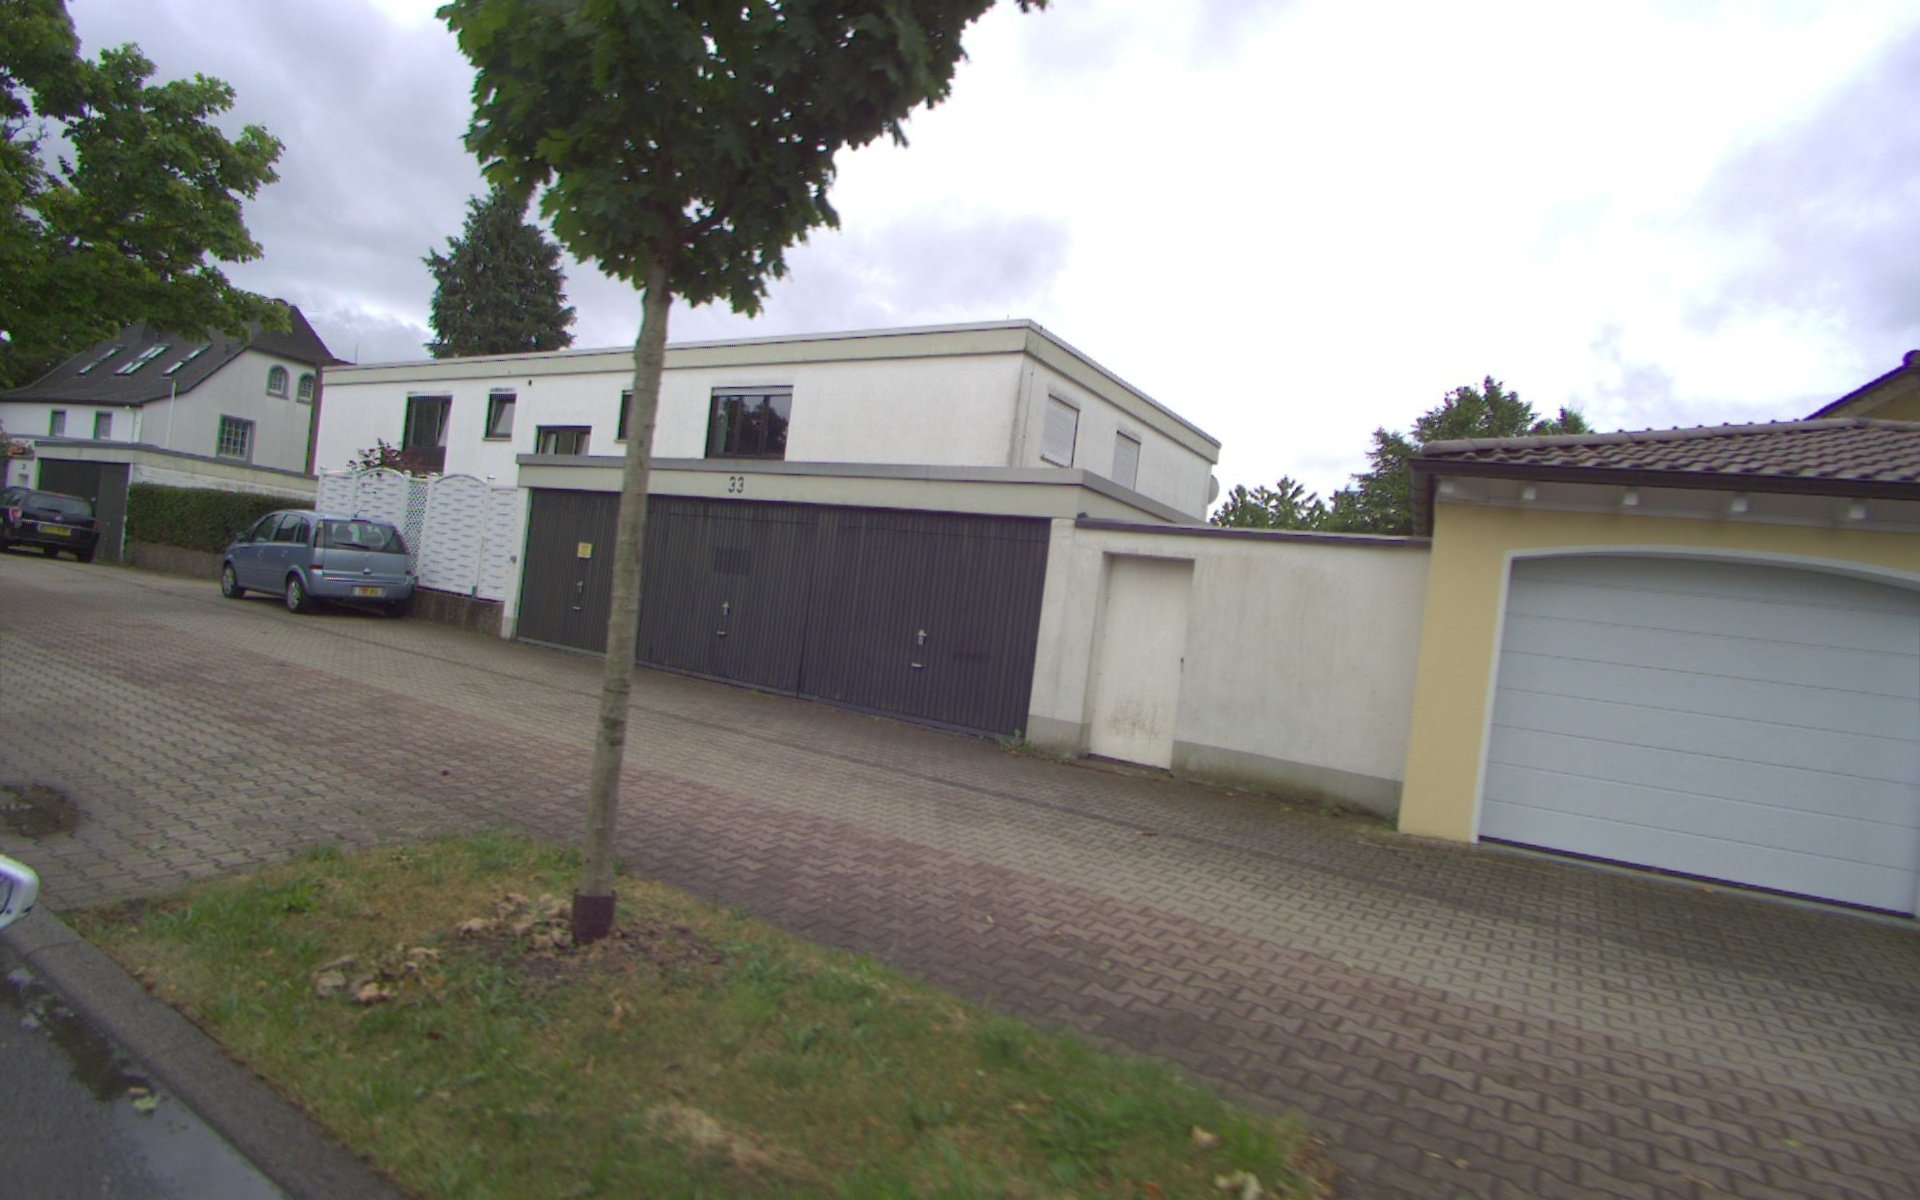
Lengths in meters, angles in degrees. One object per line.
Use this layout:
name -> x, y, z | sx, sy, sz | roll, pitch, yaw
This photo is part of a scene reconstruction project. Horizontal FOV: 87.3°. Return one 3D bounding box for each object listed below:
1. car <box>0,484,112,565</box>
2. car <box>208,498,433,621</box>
car -> -21.527, -1.826, 23.269 | 4.472, 1.516, 1.772 | 7, 0, 35
car -> -10.843, -0.706, 16.981 | 3.937, 1.631, 1.744 | 7, 0, 35
